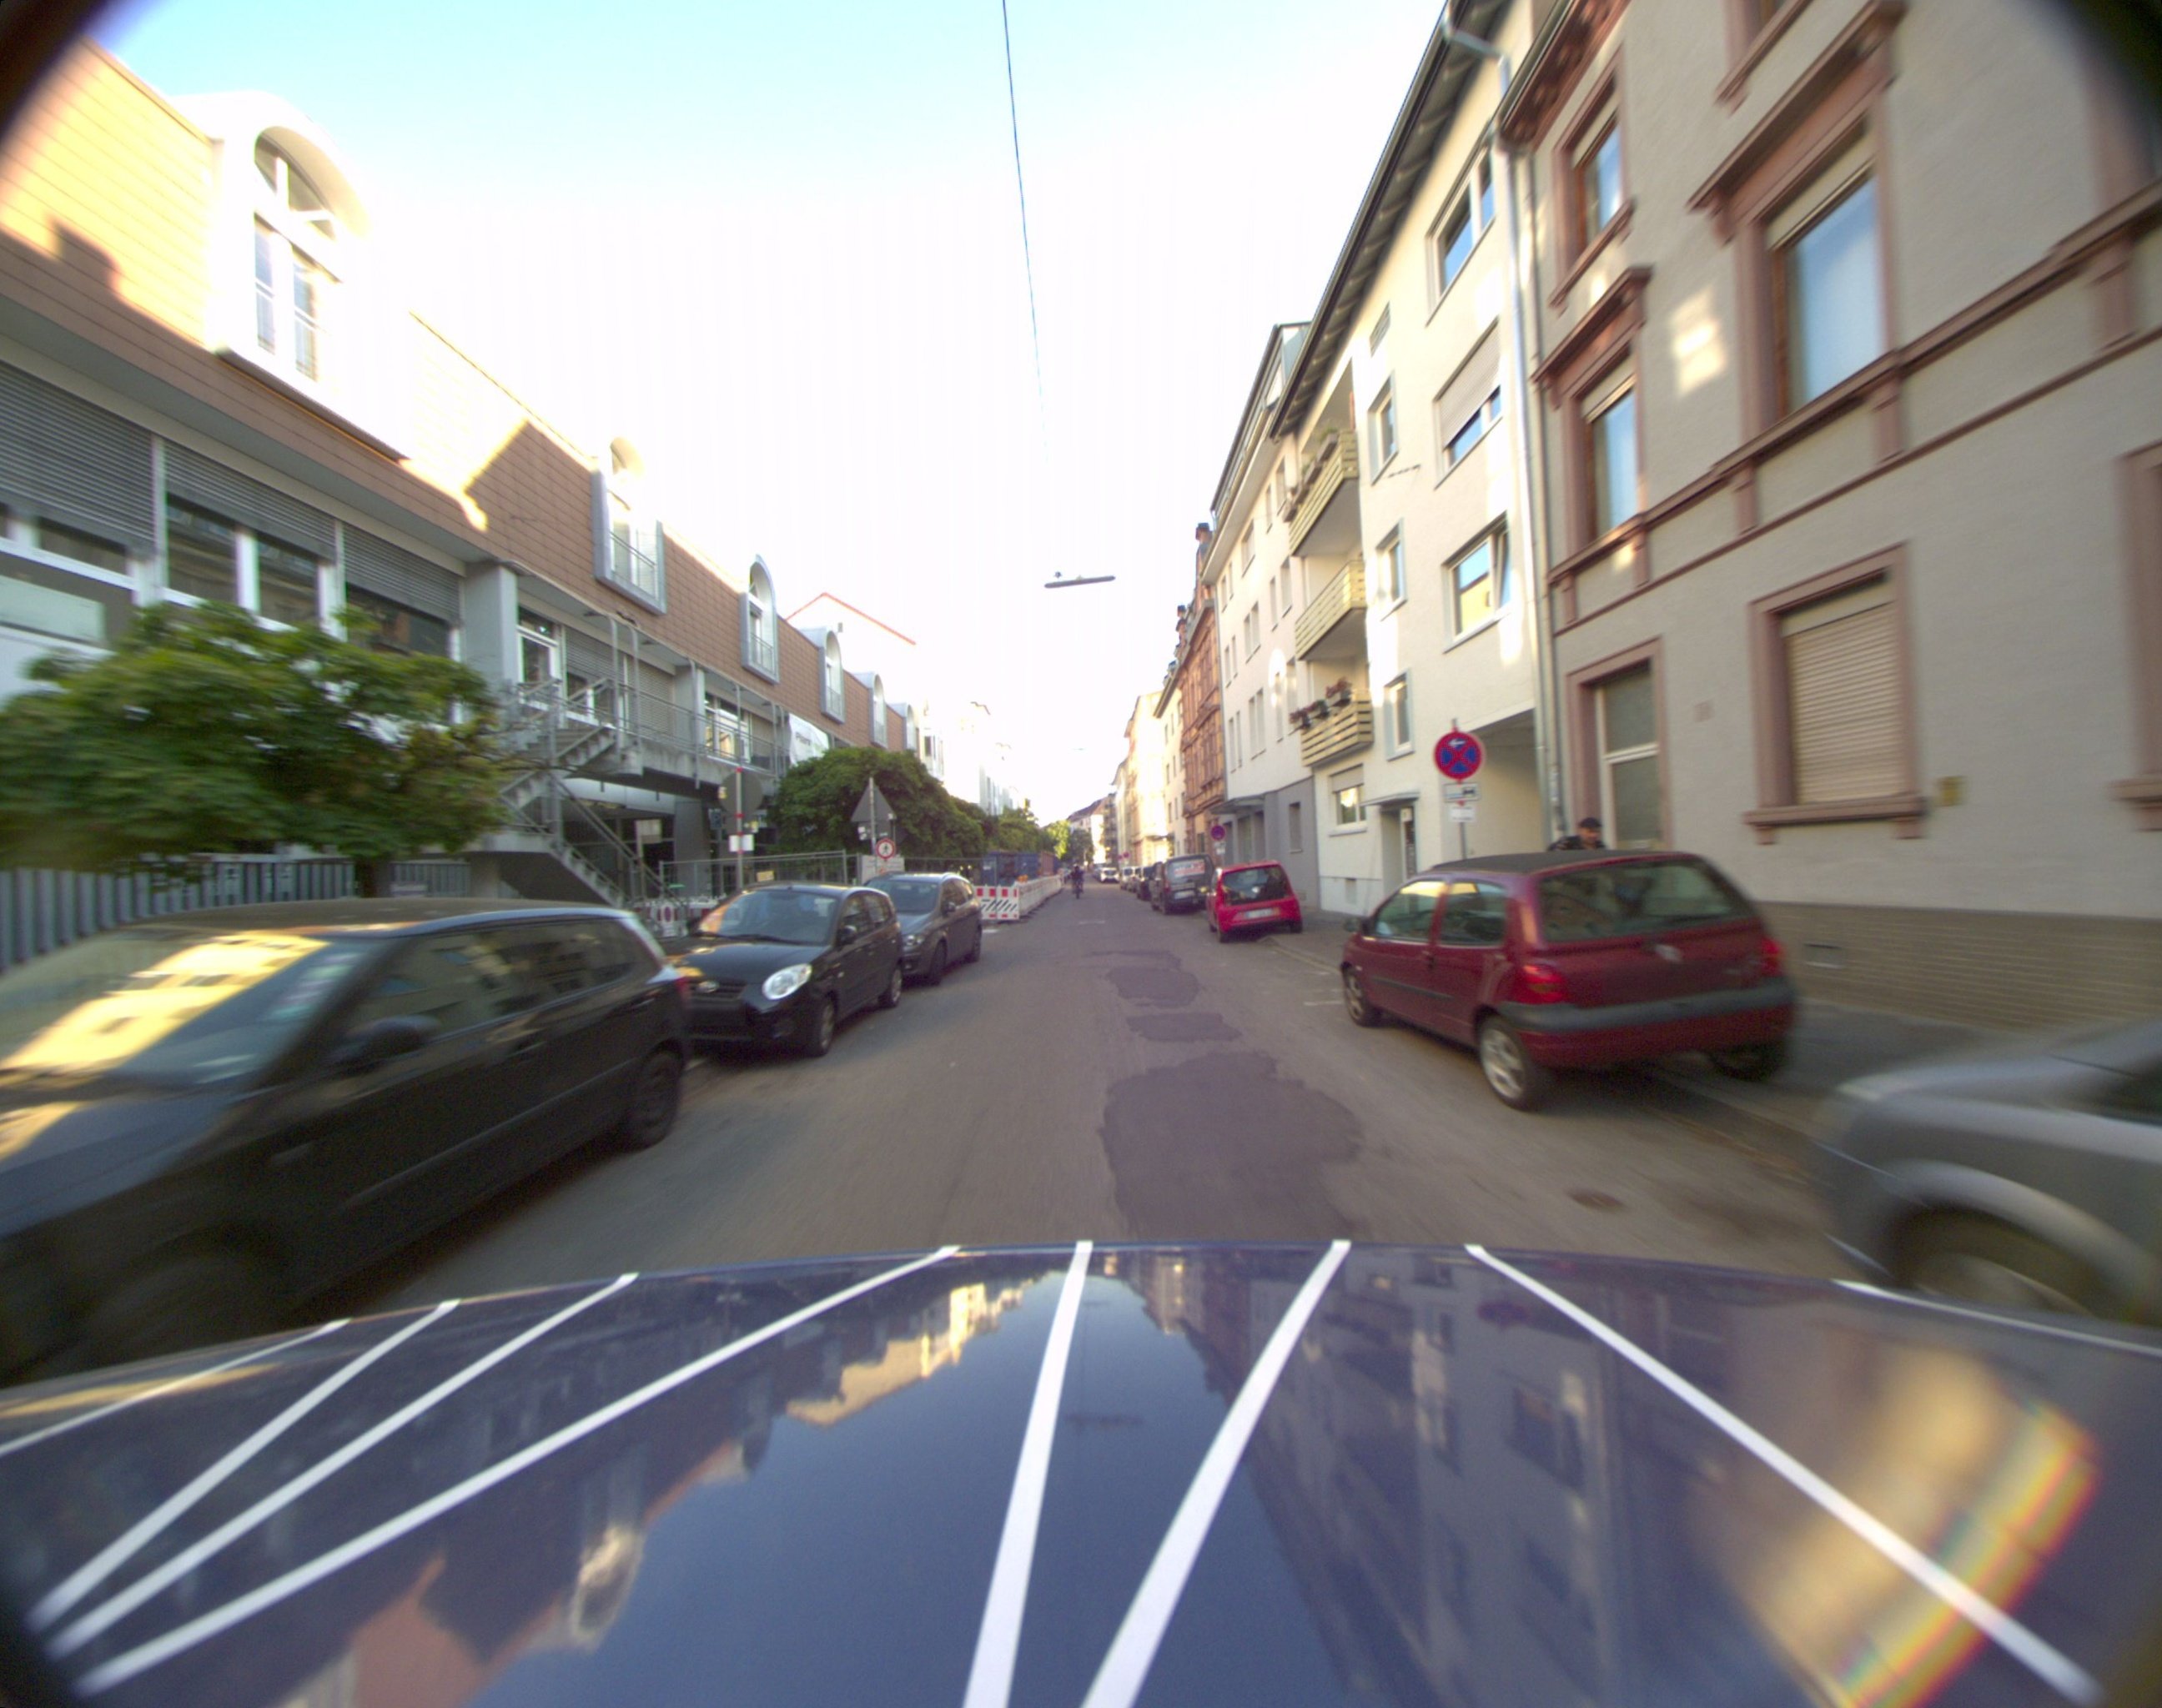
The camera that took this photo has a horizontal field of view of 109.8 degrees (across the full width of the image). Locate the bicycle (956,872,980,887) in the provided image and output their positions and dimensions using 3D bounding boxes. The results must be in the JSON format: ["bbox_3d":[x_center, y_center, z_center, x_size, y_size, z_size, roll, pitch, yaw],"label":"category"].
[{"bbox_3d":[-9.569,2.163,64.320,1.888,1.160,0.564,-1,-1,-4],"label":"bicycle"}]

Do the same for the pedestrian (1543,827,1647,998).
[{"bbox_3d":[5.205,0.572,7.729,0.496,1.629,0.665,-4,0,0],"label":"pedestrian"}]

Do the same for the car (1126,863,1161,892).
[{"bbox_3d":[3.645,1.357,44.731,1.559,1.499,3.598,-5,-1,-1],"label":"car"}]

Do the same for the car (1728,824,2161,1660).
[{"bbox_3d":[3.007,0.735,0.428,1.715,1.634,3.979,-5,-1,-1],"label":"car"}]

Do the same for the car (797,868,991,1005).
[{"bbox_3d":[-2.730,1.128,12.252,1.753,1.673,4.527,-4,-1,2],"label":"car"}]

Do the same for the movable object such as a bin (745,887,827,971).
[{"bbox_3d":[-5.396,1.339,13.884,1.256,1.368,0.800,-4,0,-25],"label":"movable object such as a bin"}]

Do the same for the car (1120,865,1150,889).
[{"bbox_3d":[3.539,1.486,50.366,1.636,1.421,3.555,-3,-1,-1],"label":"car"}]

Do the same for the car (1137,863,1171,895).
[{"bbox_3d":[3.733,1.259,39.046,1.399,1.579,2.794,-2,-1,0],"label":"car"}]

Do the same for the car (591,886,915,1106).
[{"bbox_3d":[-2.984,1.194,7.826,1.626,1.548,3.694,-3,-1,1],"label":"car"}]

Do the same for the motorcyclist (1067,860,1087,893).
[{"bbox_3d":[-0.180,1.129,37.474,0.874,1.558,1.000,-4,-2,0],"label":"motorcyclist"}]

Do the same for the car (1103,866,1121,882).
[{"bbox_3d":[2.978,1.895,74.134,1.688,1.487,3.845,1,0,2],"label":"car"}]

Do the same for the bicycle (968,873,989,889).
[{"bbox_3d":[-8.506,2.237,63.180,1.651,1.260,0.549,-4,0,-10],"label":"bicycle"}]

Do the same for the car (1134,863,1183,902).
[{"bbox_3d":[3.449,1.245,34.497,1.744,1.590,4.015,-3,-1,0],"label":"car"}]

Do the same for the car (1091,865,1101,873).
[{"bbox_3d":[3.458,3.436,174.103,1.998,1.783,4.001,-3,-1,0],"label":"car"}]

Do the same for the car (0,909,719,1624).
[{"bbox_3d":[-3.336,1.096,3.180,1.624,1.477,4.125,-1,-1,1],"label":"car"}]

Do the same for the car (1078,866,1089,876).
[{"bbox_3d":[0.495,3.073,140.338,1.998,1.783,4.001,-3,-1,0],"label":"car"}]

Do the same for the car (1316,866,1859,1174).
[{"bbox_3d":[3.171,0.890,5.626,1.661,1.439,3.286,-6,-1,-1],"label":"car"}]

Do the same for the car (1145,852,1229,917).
[{"bbox_3d":[3.409,0.969,25.329,1.999,1.847,4.585,-3,-1,-1],"label":"car"}]

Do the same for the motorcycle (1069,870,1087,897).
[{"bbox_3d":[-0.158,1.467,37.455,0.806,1.242,1.699,-4,-2,-1],"label":"motorcycle"}]

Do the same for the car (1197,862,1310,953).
[{"bbox_3d":[3.483,1.020,15.923,1.672,1.476,3.607,-8,-1,5],"label":"car"}]
